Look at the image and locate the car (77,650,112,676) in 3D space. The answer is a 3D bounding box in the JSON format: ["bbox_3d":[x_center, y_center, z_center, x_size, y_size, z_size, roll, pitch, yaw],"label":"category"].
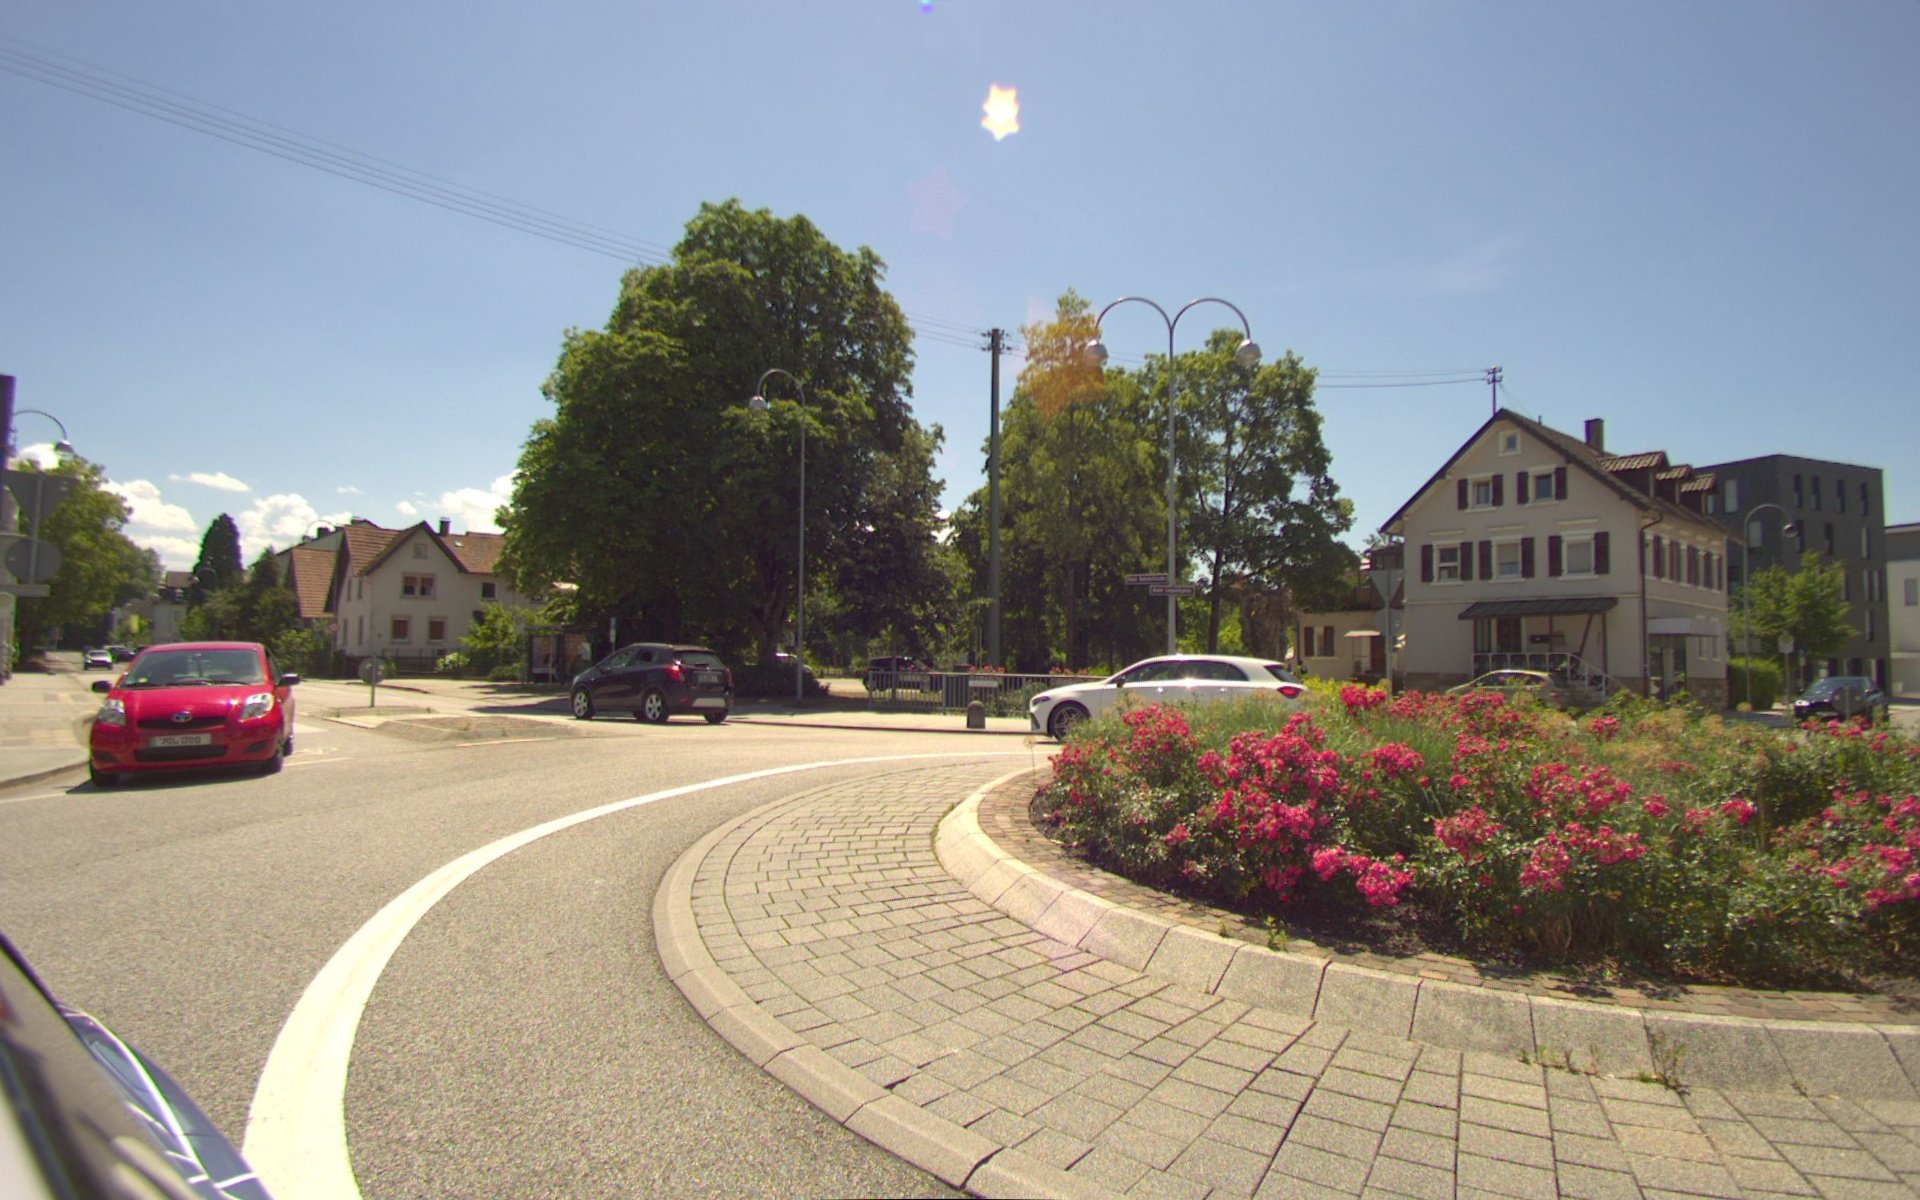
[{"bbox_3d":[-73.861,5.396,86.361,1.970,2.029,4.003,6,-8,-43],"label":"car"}]

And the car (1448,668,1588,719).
[{"bbox_3d":[19.914,3.309,36.241,1.766,1.608,4.008,5,-5,-38],"label":"car"}]

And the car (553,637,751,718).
[{"bbox_3d":[-6.675,1.706,21.798,4.159,1.574,1.975,-4,-7,37],"label":"car"}]

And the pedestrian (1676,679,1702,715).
[{"bbox_3d":[27.417,3.643,38.061,0.572,1.296,0.686,4,-5,-43],"label":"pedestrian"}]

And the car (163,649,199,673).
[{"bbox_3d":[-71.564,5.616,92.961,4.000,2.029,1.971,-6,-9,43],"label":"car"}]

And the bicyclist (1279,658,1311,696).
[{"bbox_3d":[15.453,3.552,46.715,0.797,1.647,1.066,5,-3,-26],"label":"bicyclist"}]

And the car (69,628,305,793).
[{"bbox_3d":[-8.917,1.174,12.009,1.803,1.545,4.011,-1,-2,-31],"label":"car"}]

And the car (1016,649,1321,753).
[{"bbox_3d":[3.200,1.511,15.579,4.265,1.392,1.916,-1,-6,26],"label":"car"}]

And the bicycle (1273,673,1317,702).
[{"bbox_3d":[15.435,4.040,46.686,0.797,1.164,1.858,5,-3,-25],"label":"bicycle"}]

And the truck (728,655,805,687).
[{"bbox_3d":[-15.958,5.878,83.587,6.117,2.462,2.269,1,-6,-11],"label":"truck"}]

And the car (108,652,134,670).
[{"bbox_3d":[-90.556,6.598,109.224,4.001,1.719,1.715,-6,-6,44],"label":"car"}]

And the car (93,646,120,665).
[{"bbox_3d":[-103.374,6.762,122.601,4.000,2.029,1.971,-6,-9,43],"label":"car"}]

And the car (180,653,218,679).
[{"bbox_3d":[-63.932,5.600,85.022,1.970,2.029,4.003,6,-8,-43],"label":"car"}]

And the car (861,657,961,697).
[{"bbox_3d":[-2.098,3.333,43.834,3.965,1.614,1.832,0,-4,17],"label":"car"}]

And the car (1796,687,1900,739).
[{"bbox_3d":[28.878,3.635,32.896,3.535,1.558,1.758,3,-6,-37],"label":"car"}]
